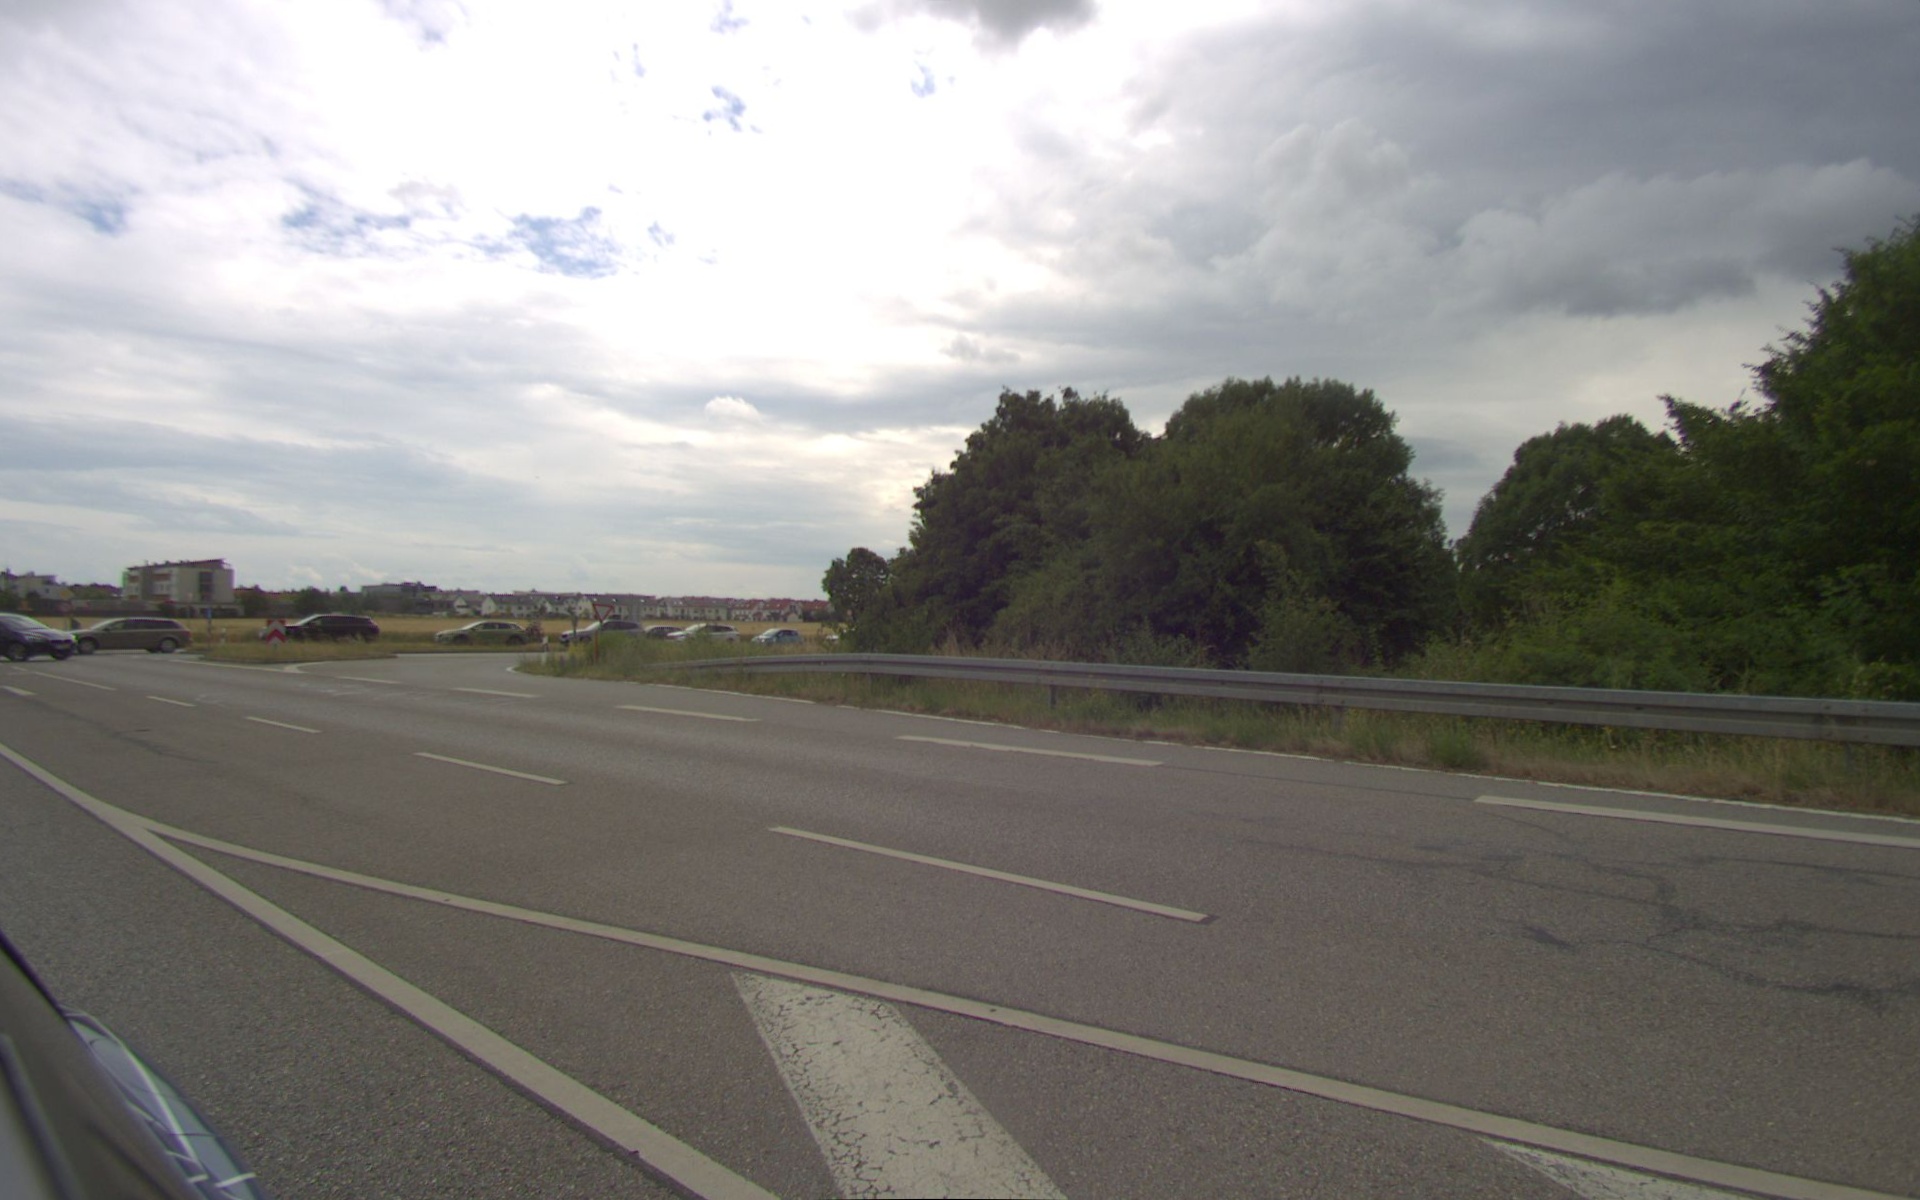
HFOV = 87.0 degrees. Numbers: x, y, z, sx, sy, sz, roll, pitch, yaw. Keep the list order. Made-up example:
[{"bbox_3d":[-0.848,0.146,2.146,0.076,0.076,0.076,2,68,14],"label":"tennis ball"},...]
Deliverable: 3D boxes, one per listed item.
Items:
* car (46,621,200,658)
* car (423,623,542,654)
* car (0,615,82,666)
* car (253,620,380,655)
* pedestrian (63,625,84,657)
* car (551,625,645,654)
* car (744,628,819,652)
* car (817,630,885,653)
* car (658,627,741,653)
[{"bbox_3d":[-33.801,1.571,40.988,1.905,1.435,4.415,-1,-2,33],"label":"car"},{"bbox_3d":[-24.481,1.963,52.025,5.222,1.533,1.913,2,-2,-43],"label":"car"},{"bbox_3d":[-32.551,1.363,34.310,4.429,1.623,1.704,-1,0,8],"label":"car"},{"bbox_3d":[-29.602,1.708,46.638,4.683,1.543,1.913,2,-2,-43],"label":"car"},{"bbox_3d":[-45.748,2.107,52.212,0.865,1.617,0.587,-1,-4,38],"label":"pedestrian"},{"bbox_3d":[-20.125,2.170,56.388,4.568,1.528,1.913,2,-2,-43],"label":"car"},{"bbox_3d":[-11.410,2.560,64.908,4.437,1.493,1.913,2,-2,-43],"label":"car"},{"bbox_3d":[-7.391,2.806,69.053,1.911,1.493,4.441,-1,-2,44],"label":"car"},{"bbox_3d":[-15.531,2.357,60.486,4.437,1.493,1.913,2,-2,-43],"label":"car"}]
